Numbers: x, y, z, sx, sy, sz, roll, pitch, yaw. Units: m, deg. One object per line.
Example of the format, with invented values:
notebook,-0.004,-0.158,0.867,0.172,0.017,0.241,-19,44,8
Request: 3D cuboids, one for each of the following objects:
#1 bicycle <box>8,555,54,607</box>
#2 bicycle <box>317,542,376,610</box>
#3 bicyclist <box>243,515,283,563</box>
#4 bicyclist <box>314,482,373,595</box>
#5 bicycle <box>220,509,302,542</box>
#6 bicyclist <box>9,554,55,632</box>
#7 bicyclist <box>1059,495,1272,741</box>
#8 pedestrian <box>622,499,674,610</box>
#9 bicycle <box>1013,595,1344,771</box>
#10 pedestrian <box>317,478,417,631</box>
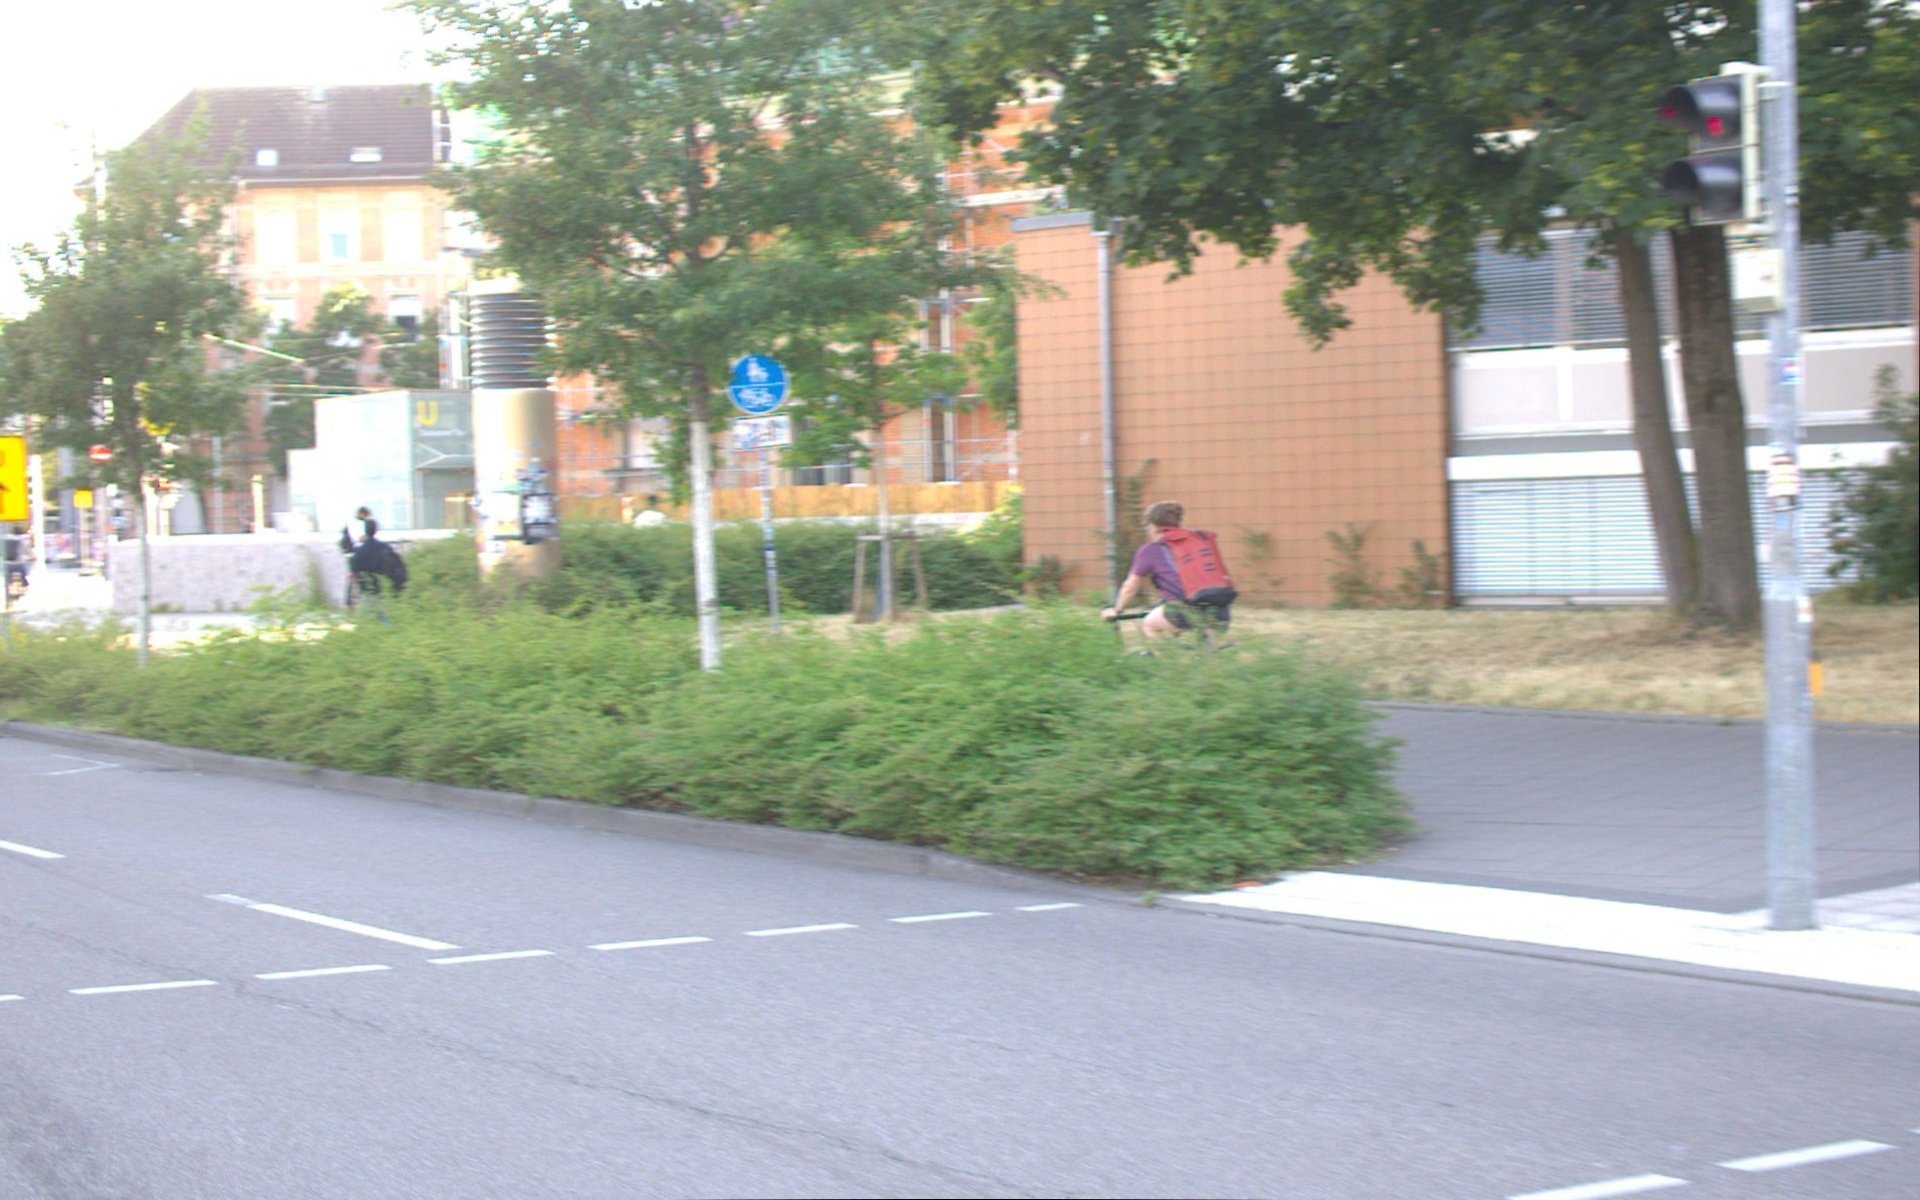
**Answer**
bicycle,-19.719,-0.405,72.997,0.789,1.035,1.963,-4,1,-13
bicycle,-9.993,-0.401,55.950,0.789,1.035,1.963,-4,1,-13
bicyclist,-23.020,-2.014,113.465,0.924,1.554,0.963,-3,2,-36
bicyclist,-9.998,-0.993,55.781,0.786,1.780,0.894,-4,1,-13
bicycle,-23.057,-2.455,113.473,2.439,1.000,0.963,-3,2,-36
bicyclist,-19.664,-0.152,72.859,0.789,1.588,0.947,-4,1,-13
bicyclist,1.184,0.101,19.955,0.720,1.380,1.076,-1,0,-32
pedestrian,-4.681,-0.685,51.645,0.723,1.653,0.718,1,1,-2
bicycle,1.229,0.466,19.893,0.720,0.949,2.249,-1,0,-32
pedestrian,-6.675,-0.523,38.708,0.806,1.653,0.790,-5,3,-27
